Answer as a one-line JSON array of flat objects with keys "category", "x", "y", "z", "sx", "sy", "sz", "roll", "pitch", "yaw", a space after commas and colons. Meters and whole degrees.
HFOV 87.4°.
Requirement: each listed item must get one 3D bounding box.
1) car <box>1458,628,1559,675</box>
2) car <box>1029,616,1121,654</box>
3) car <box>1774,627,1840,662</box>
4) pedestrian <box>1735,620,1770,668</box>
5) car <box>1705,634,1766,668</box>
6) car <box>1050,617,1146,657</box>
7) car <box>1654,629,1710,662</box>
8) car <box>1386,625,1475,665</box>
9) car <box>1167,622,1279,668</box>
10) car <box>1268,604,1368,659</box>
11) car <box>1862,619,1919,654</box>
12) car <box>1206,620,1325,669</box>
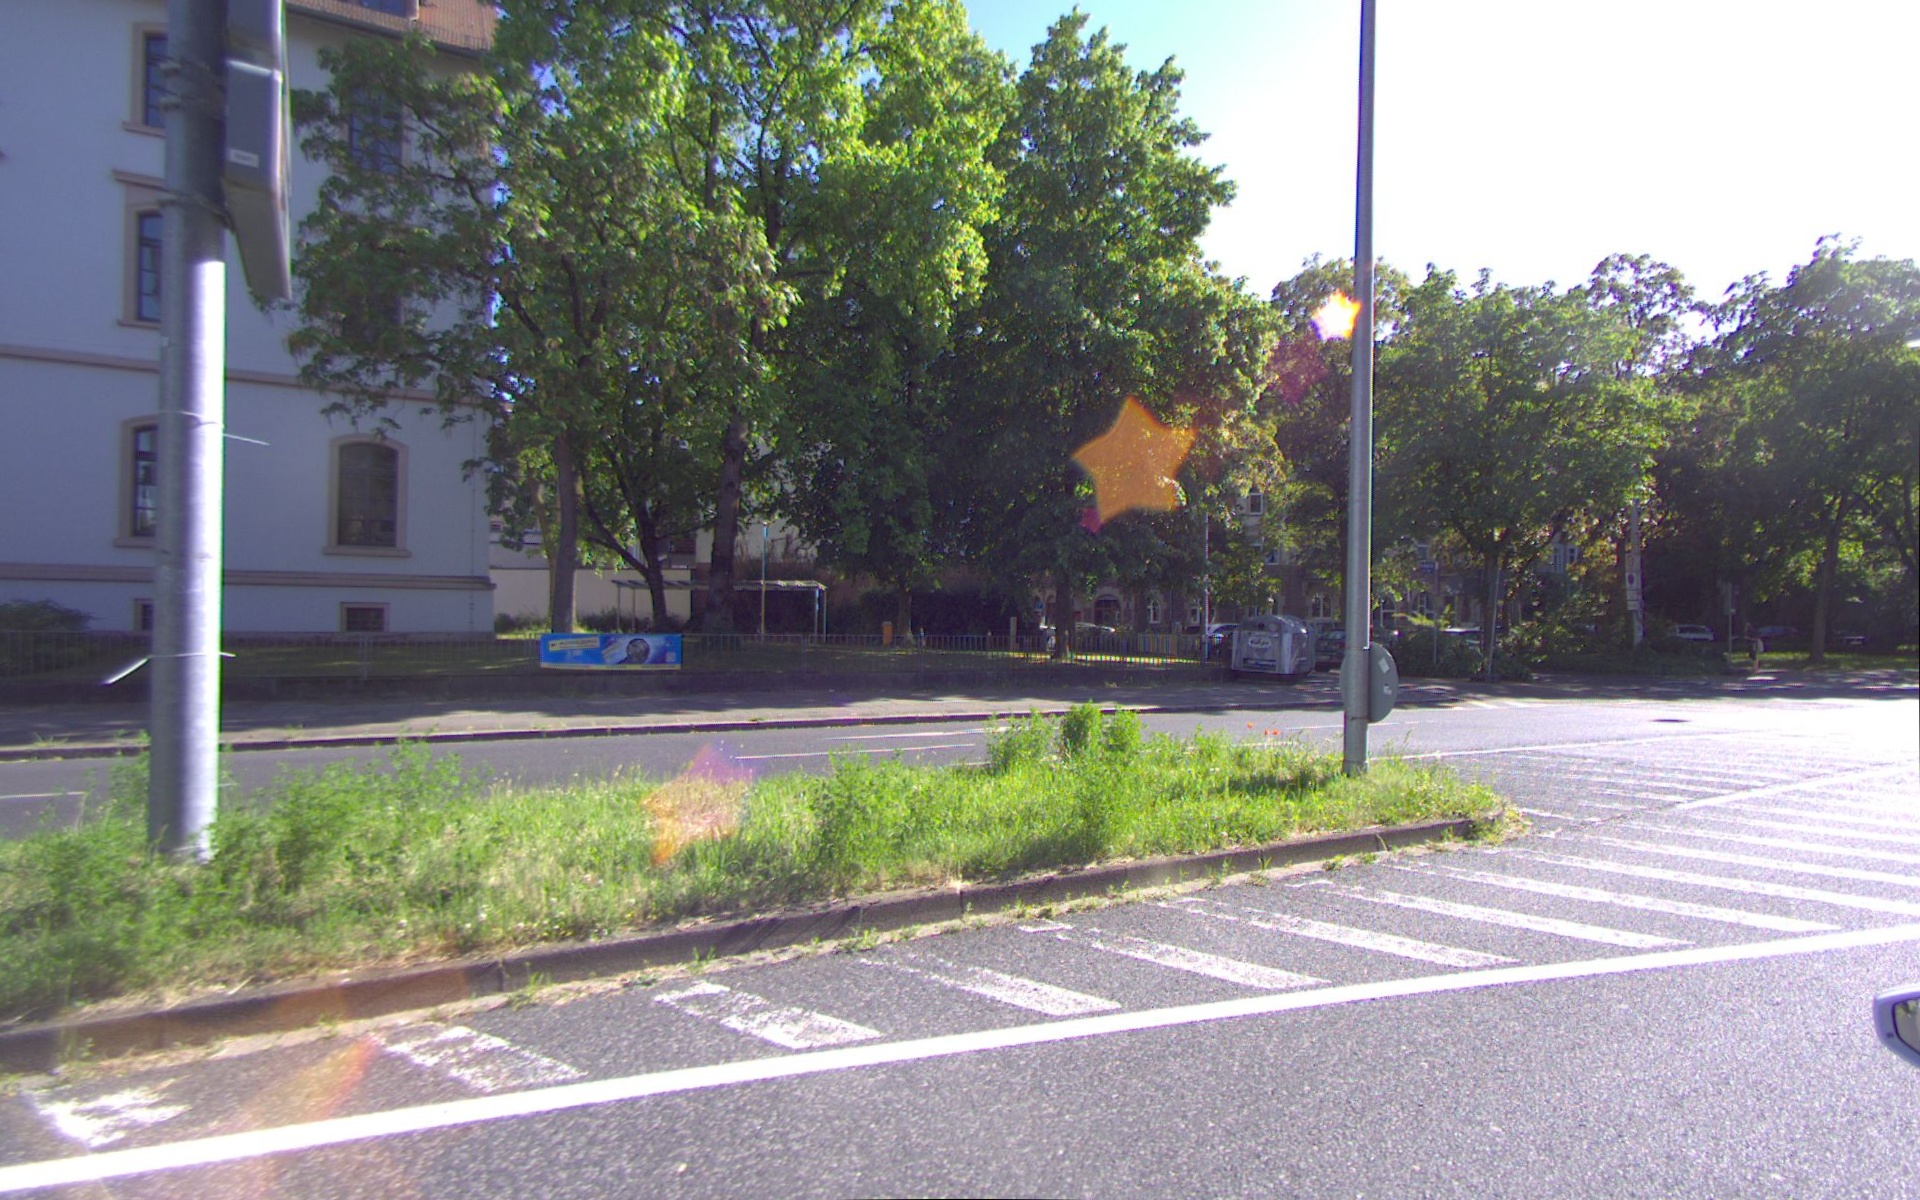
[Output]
[{"category": "car", "x": 22.814, "y": 2.159, "z": 41.759, "sx": 3.954, "sy": 1.675, "sz": 1.837, "roll": 5, "pitch": -2, "yaw": -30}, {"category": "car", "x": 5.409, "y": 1.657, "z": 47.190, "sx": 3.954, "sy": 1.510, "sz": 1.837, "roll": 5, "pitch": -2, "yaw": -30}, {"category": "car", "x": 44.087, "y": 2.281, "z": 52.379, "sx": 1.946, "sy": 1.684, "sz": 3.993, "roll": 0, "pitch": -1, "yaw": 30}, {"category": "pedestrian", "x": 28.057, "y": 1.546, "z": 35.562, "sx": 0.701, "sy": 1.648, "sz": 0.671, "roll": 1, "pitch": -1, "yaw": 3}, {"category": "car", "x": 41.791, "y": 2.706, "z": 54.225, "sx": 1.945, "sy": 1.684, "sz": 3.994, "roll": 0, "pitch": -1, "yaw": 28}, {"category": "car", "x": 6.246, "y": 1.661, "z": 45.351, "sx": 3.954, "sy": 1.510, "sz": 1.837, "roll": 5, "pitch": -2, "yaw": -30}, {"category": "car", "x": 40.054, "y": 2.492, "z": 55.821, "sx": 1.945, "sy": 1.684, "sz": 3.995, "roll": 0, "pitch": -1, "yaw": 27}, {"category": "car", "x": 21.857, "y": 2.066, "z": 46.610, "sx": 3.953, "sy": 1.676, "sz": 1.837, "roll": 0, "pitch": 1, "yaw": -30}, {"category": "car", "x": 10.077, "y": 1.721, "z": 38.427, "sx": 3.954, "sy": 1.510, "sz": 1.837, "roll": 5, "pitch": -2, "yaw": -30}, {"category": "car", "x": 17.904, "y": 1.580, "z": 50.190, "sx": 4.928, "sy": 2.354, "sz": 1.837, "roll": 5, "pitch": -2, "yaw": -30}, {"category": "car", "x": 48.003, "y": 1.852, "z": 51.838, "sx": 1.951, "sy": 1.684, "sz": 3.982, "roll": 0, "pitch": -1, "yaw": 39}, {"category": "car", "x": 11.019, "y": 1.608, "z": 36.191, "sx": 3.954, "sy": 1.510, "sz": 1.837, "roll": 5, "pitch": -2, "yaw": -30}]
